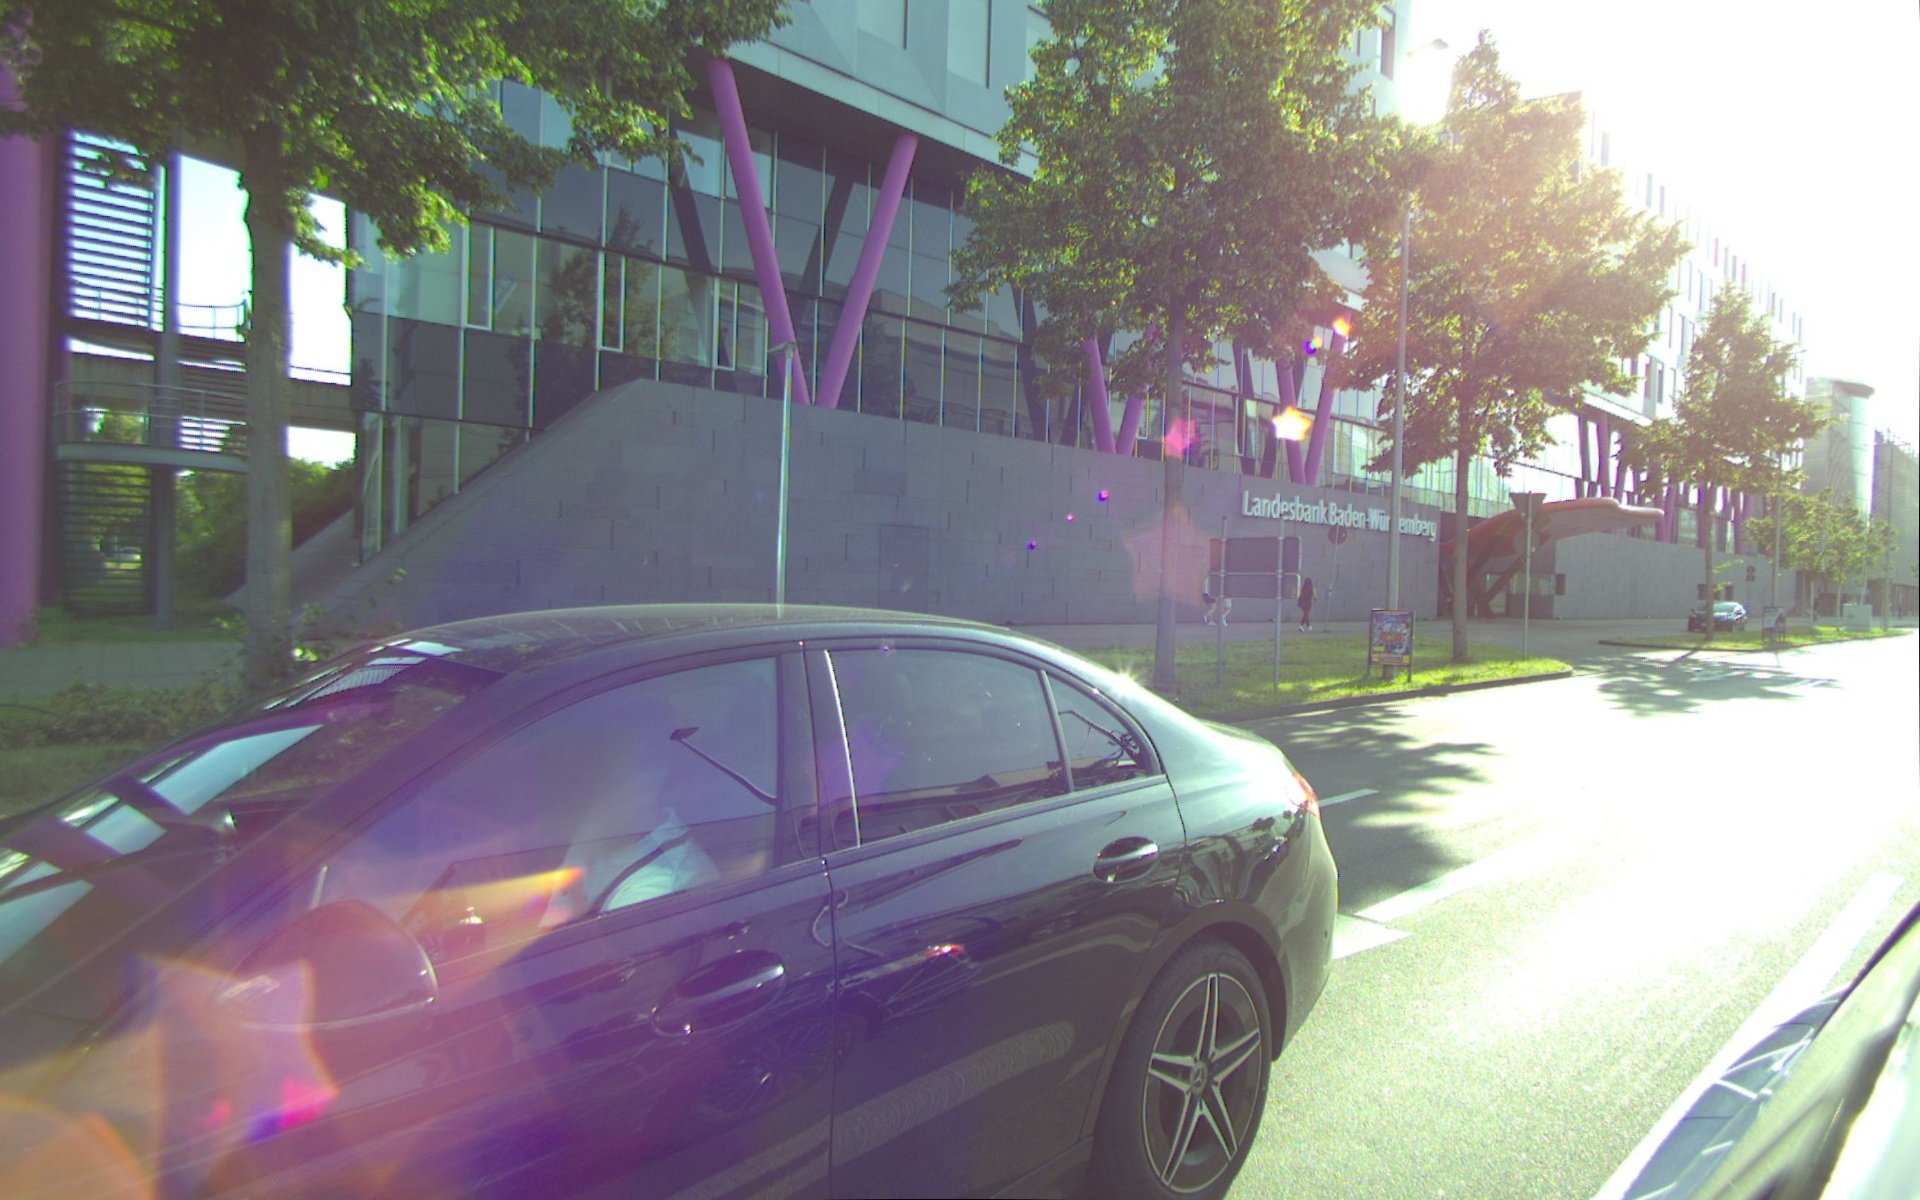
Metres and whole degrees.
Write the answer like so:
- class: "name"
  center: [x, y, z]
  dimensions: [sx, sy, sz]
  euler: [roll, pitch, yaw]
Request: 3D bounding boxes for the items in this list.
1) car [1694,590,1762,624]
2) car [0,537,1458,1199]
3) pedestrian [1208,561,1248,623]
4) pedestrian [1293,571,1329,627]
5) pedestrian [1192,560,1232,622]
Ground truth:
- class: "car"
  center: [34.832, 0.325, 45.890]
  dimensions: [4.126, 1.407, 1.694]
  euler: [1, 1, -42]
- class: "car"
  center: [-0.884, 0.666, 2.247]
  dimensions: [4.473, 1.468, 1.843]
  euler: [1, 0, -39]
- class: "pedestrian"
  center: [8.159, -0.244, 30.840]
  dimensions: [0.829, 1.815, 0.756]
  euler: [1, 3, -41]
- class: "pedestrian"
  center: [10.646, -0.040, 30.702]
  dimensions: [0.724, 1.659, 0.695]
  euler: [1, 2, -41]
- class: "pedestrian"
  center: [7.772, -0.293, 31.238]
  dimensions: [0.838, 1.847, 0.769]
  euler: [1, 3, -41]
